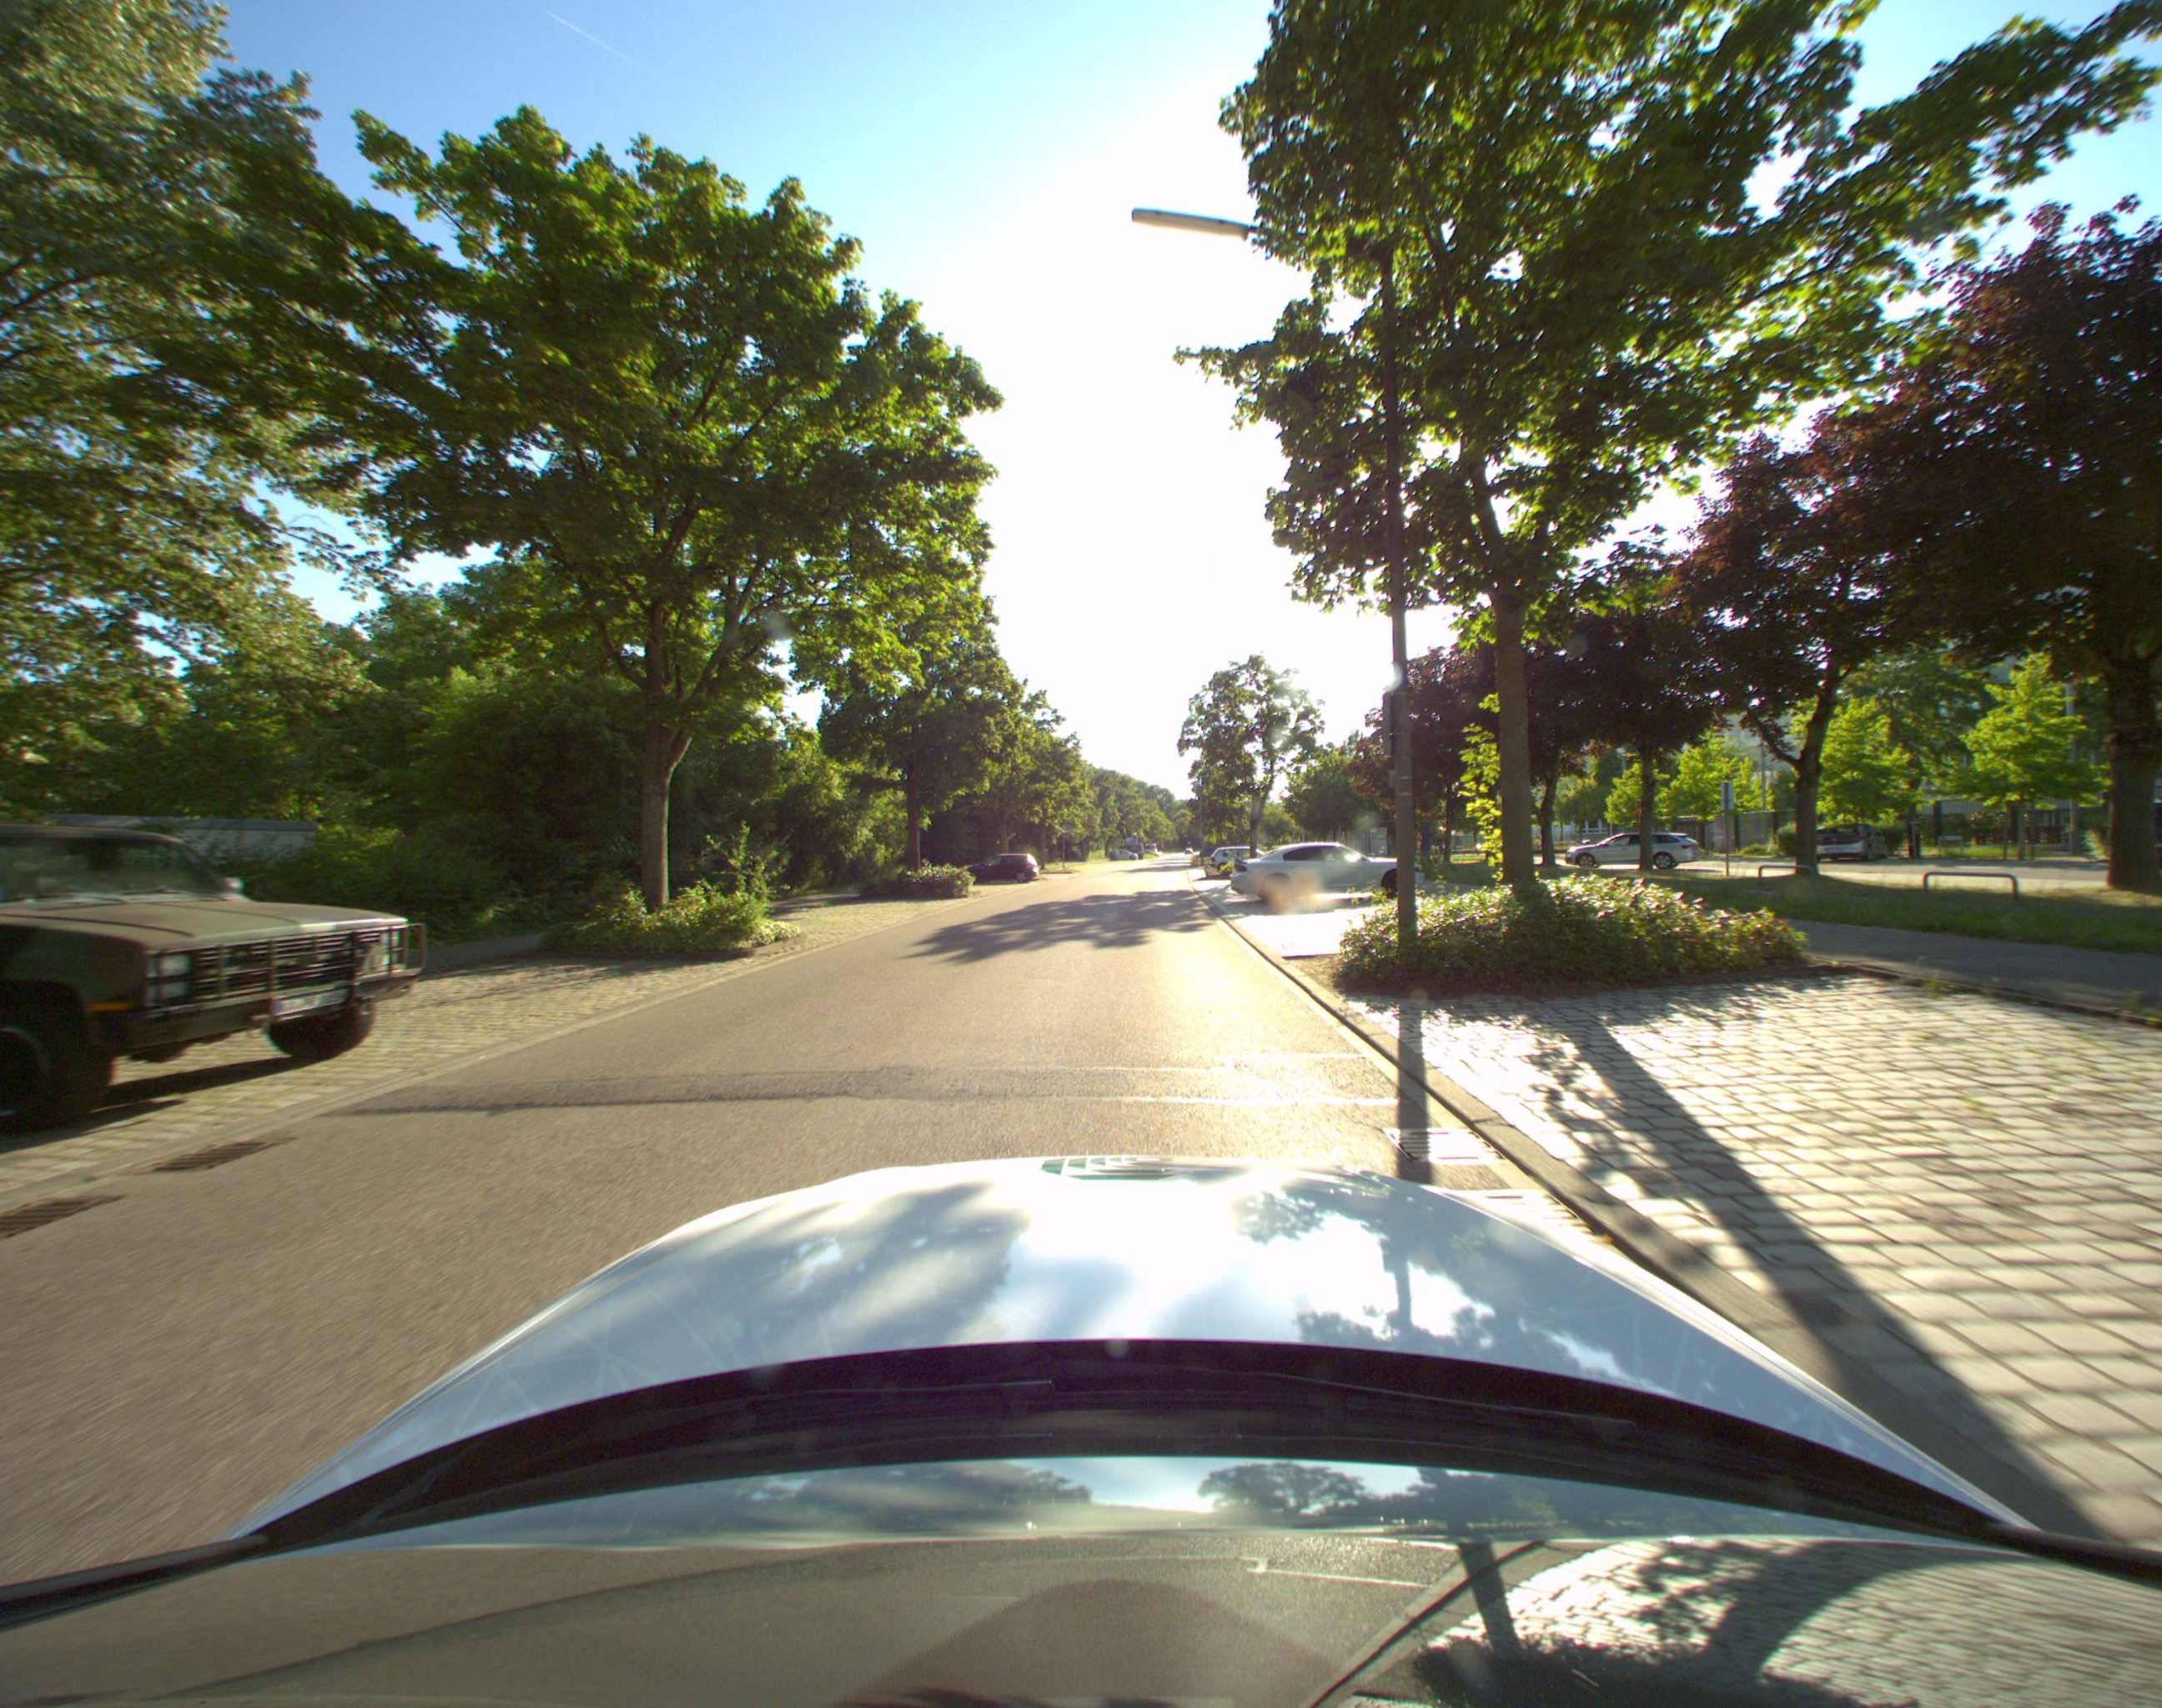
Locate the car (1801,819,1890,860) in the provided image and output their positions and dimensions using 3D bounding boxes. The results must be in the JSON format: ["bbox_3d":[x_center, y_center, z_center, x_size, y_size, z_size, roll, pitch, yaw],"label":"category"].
[{"bbox_3d":[31.495,-0.597,33.510,4.321,1.527,1.749,-2,0,-34],"label":"car"}]

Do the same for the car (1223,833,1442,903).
[{"bbox_3d":[6.516,0.348,21.597,5.154,1.574,2.159,-2,0,2],"label":"car"}]

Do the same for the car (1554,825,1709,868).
[{"bbox_3d":[22.338,-0.265,33.175,4.892,1.574,2.012,-2,0,45],"label":"car"}]

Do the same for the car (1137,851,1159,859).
[{"bbox_3d":[13.848,0.196,168.308,4.342,1.479,2.001,-2,0,1],"label":"car"}]

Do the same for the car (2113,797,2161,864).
[{"bbox_3d":[30.242,-0.703,22.649,4.516,1.750,1.748,-2,0,-37],"label":"car"}]

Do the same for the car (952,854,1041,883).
[{"bbox_3d":[-4.401,0.736,42.842,4.337,1.479,2.003,0,0,5],"label":"car"}]

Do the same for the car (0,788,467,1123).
[{"bbox_3d":[-7.890,0.601,6.077,4.985,2.020,2.176,0,0,2],"label":"car"}]

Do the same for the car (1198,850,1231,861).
[{"bbox_3d":[20.178,0.207,123.365,4.813,1.479,2.005,-2,0,9],"label":"car"}]

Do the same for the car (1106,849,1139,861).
[{"bbox_3d":[5.928,0.195,115.747,4.333,1.547,2.005,-2,0,9],"label":"car"}]

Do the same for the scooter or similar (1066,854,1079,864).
[{"bbox_3d":[-1.040,0.617,101.808,1.593,1.145,0.570,-2,0,-42],"label":"scooter or similar"}]

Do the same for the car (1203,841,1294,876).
[{"bbox_3d":[8.593,0.216,41.695,4.326,1.479,2.008,-4,-1,15],"label":"car"}]

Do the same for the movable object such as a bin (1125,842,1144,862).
[{"bbox_3d":[8.409,-0.313,128.340,2.825,3.068,4.932,-2,0,4],"label":"movable object such as a bin"}]

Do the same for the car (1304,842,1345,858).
[{"bbox_3d":[28.977,-0.450,96.976,4.406,1.706,2.063,-2,0,7],"label":"car"}]

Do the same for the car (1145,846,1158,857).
[{"bbox_3d":[15.353,-0.541,177.805,2.507,2.386,4.374,-2,0,2],"label":"car"}]

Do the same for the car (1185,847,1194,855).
[{"bbox_3d":[26.843,-0.820,202.155,1.983,1.903,4.007,-2,0,6],"label":"car"}]
